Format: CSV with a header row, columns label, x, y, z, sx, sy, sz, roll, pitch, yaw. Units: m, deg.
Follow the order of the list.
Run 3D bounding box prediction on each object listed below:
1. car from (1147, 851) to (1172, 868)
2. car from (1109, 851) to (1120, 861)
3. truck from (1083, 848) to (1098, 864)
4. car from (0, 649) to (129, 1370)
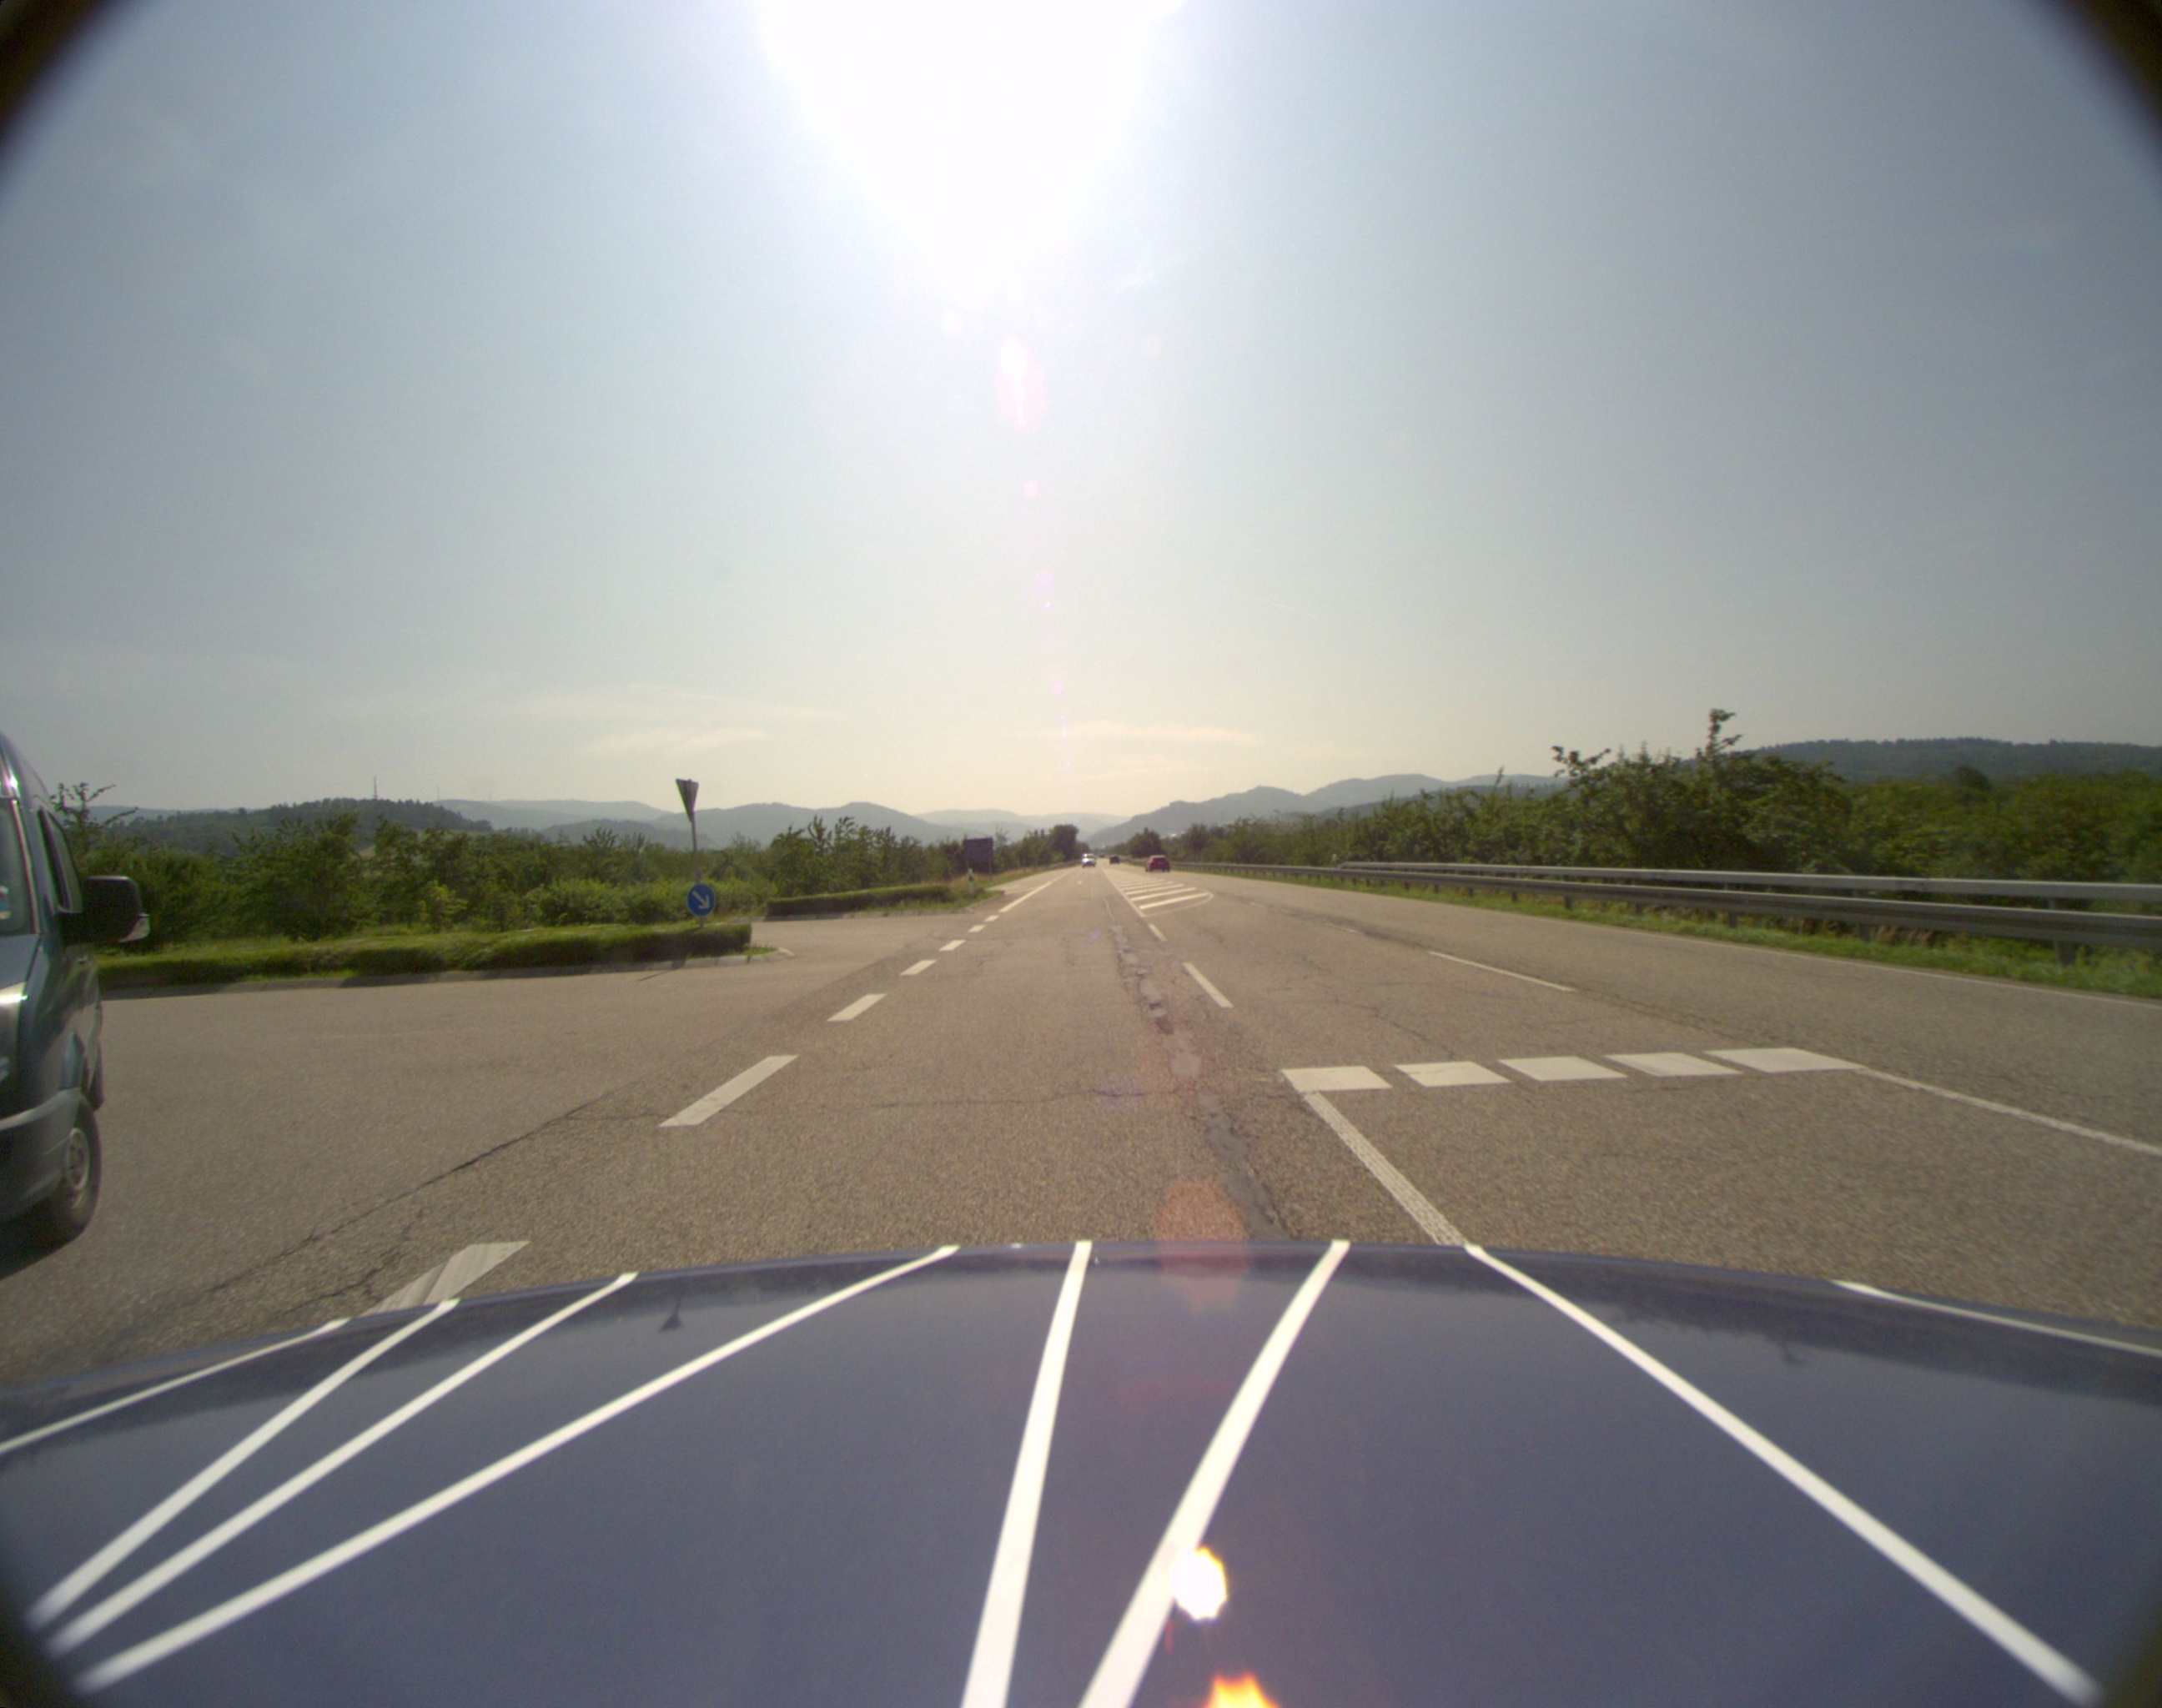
label,x,y,z,sx,sy,sz,roll,pitch,yaw
car,6.975,0.462,68.074,1.820,1.440,4.495,-3,0,1
car,6.014,0.397,137.412,1.808,1.628,4.809,-3,0,0
truck,1.453,0.254,112.162,2.032,2.232,4.764,-3,1,1
car,-6.878,0.729,3.997,6.296,2.560,2.066,-4,0,40
